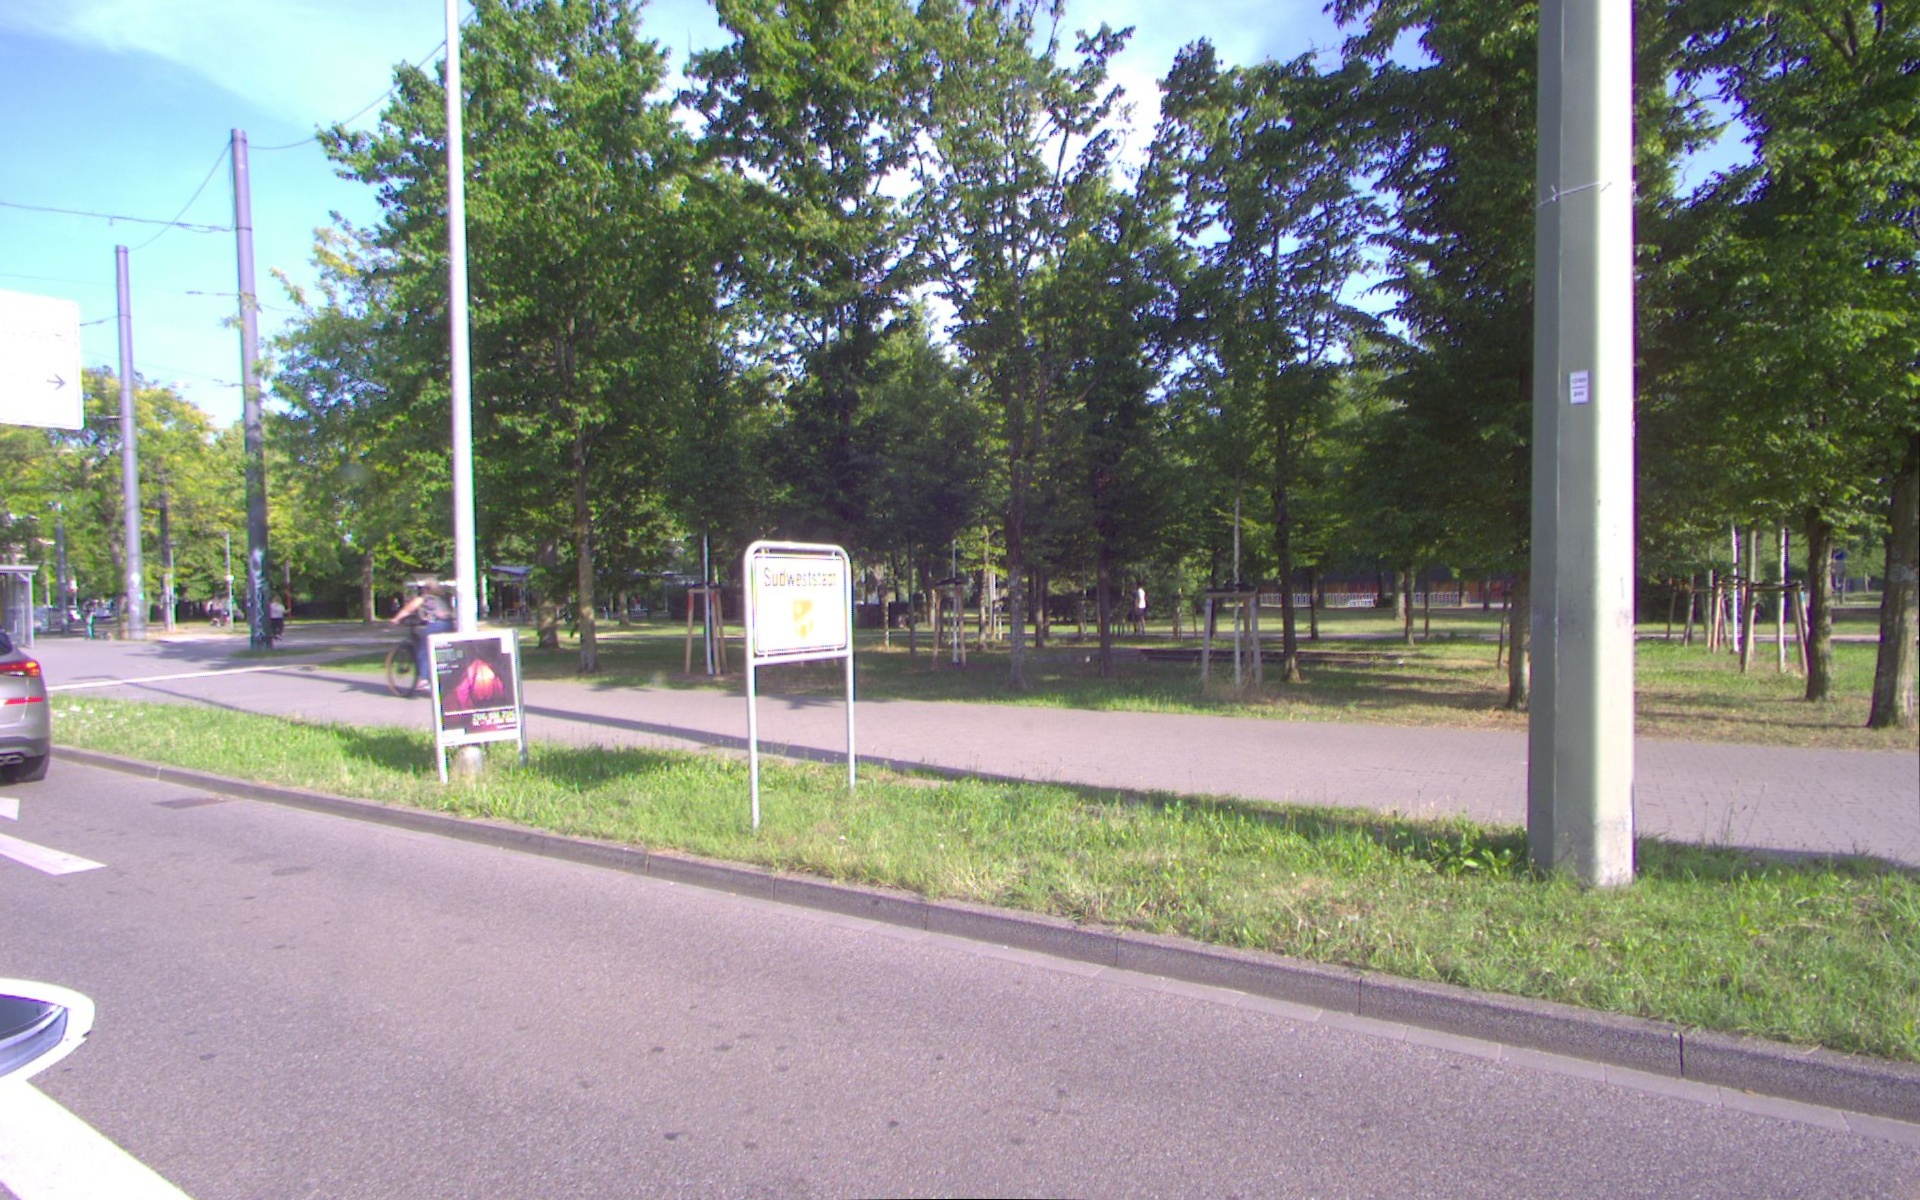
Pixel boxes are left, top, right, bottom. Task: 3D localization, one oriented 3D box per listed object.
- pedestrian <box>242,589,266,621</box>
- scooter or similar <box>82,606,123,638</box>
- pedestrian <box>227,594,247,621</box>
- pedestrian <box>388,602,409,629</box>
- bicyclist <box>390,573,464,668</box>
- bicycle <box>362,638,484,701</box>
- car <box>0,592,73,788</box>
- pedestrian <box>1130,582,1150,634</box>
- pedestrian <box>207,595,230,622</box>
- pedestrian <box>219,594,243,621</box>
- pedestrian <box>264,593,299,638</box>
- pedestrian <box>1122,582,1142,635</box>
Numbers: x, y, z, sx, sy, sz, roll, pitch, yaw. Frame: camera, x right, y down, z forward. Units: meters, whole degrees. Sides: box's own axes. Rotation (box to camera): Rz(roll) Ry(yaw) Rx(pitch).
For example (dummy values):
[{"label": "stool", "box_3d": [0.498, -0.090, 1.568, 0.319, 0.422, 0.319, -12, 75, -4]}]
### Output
[{"label": "pedestrian", "box_3d": [-40.257, 0.298, 57.131, 0.826, 1.809, 0.798, 0, 1, 28]}, {"label": "scooter or similar", "box_3d": [-31.579, 0.803, 36.868, 1.305, 1.132, 0.420, -1, 1, 13]}, {"label": "pedestrian", "box_3d": [-39.996, 0.411, 55.401, 0.804, 1.508, 0.696, -2, 1, -33]}, {"label": "pedestrian", "box_3d": [-34.555, 0.963, 61.603, 0.792, 1.659, 0.832, 0, 1, 38]}, {"label": "bicyclist", "box_3d": [-7.377, 0.272, 13.862, 0.856, 1.279, 0.533, 0, 1, 32]}, {"label": "bicycle", "box_3d": [-7.506, 0.947, 13.962, 2.138, 0.767, 0.494, -1, 2, 33]}, {"label": "car", "box_3d": [-9.983, 0.799, 9.139, 3.595, 1.673, 1.880, -1, 1, 32]}, {"label": "pedestrian", "box_3d": [6.432, 0.292, 35.852, 0.617, 1.836, 0.502, -1, 1, 3]}, {"label": "pedestrian", "box_3d": [-41.036, 0.465, 55.418, 0.687, 1.508, 0.815, -1, 1, -9]}, {"label": "pedestrian", "box_3d": [-41.100, 0.421, 56.445, 0.688, 1.508, 0.813, 0, 1, 22]}, {"label": "pedestrian", "box_3d": [-25.698, 0.588, 37.922, 0.793, 1.659, 0.754, -1, 1, -7]}, {"label": "pedestrian", "box_3d": [6.007, 0.295, 34.991, 0.617, 1.836, 0.502, -1, 1, 6]}]
